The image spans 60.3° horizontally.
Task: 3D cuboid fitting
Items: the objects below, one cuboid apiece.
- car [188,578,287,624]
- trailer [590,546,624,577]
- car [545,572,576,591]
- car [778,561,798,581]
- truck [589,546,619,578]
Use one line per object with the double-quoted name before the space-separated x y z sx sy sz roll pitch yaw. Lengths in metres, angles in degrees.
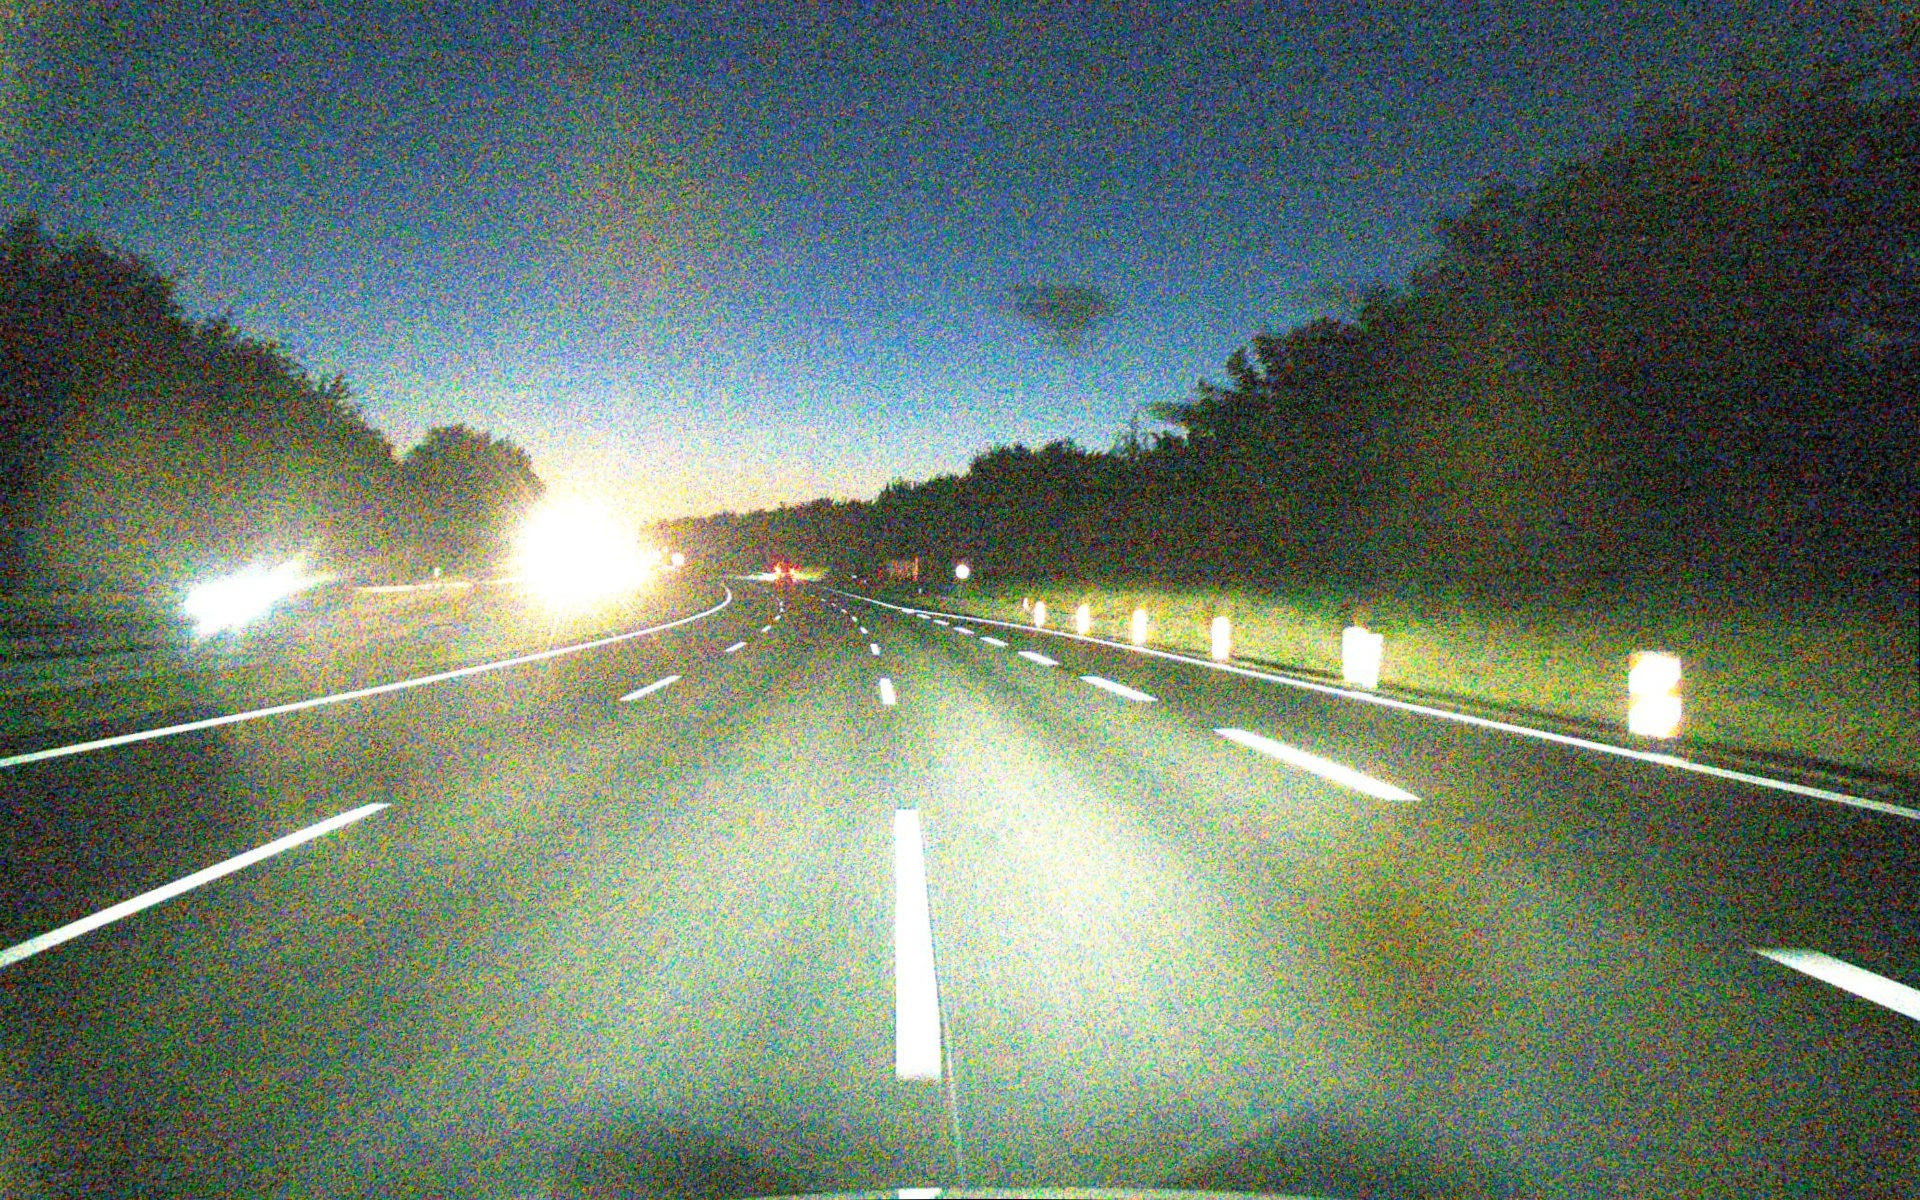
"car" -25.634 0.017 58.822 1.955 1.534 4.311 1 0 -5
"trailer" -48.641 -5.277 228.373 3.532 4.161 14.099 1 1 -8
"car" -34.134 -1.606 141.375 1.955 1.534 3.996 1 1 -5
"car" -23.071 -3.877 221.309 2.480 2.597 6.042 3 1 -7
"truck" -47.715 -5.098 221.902 3.523 4.171 5.983 1 1 -9
